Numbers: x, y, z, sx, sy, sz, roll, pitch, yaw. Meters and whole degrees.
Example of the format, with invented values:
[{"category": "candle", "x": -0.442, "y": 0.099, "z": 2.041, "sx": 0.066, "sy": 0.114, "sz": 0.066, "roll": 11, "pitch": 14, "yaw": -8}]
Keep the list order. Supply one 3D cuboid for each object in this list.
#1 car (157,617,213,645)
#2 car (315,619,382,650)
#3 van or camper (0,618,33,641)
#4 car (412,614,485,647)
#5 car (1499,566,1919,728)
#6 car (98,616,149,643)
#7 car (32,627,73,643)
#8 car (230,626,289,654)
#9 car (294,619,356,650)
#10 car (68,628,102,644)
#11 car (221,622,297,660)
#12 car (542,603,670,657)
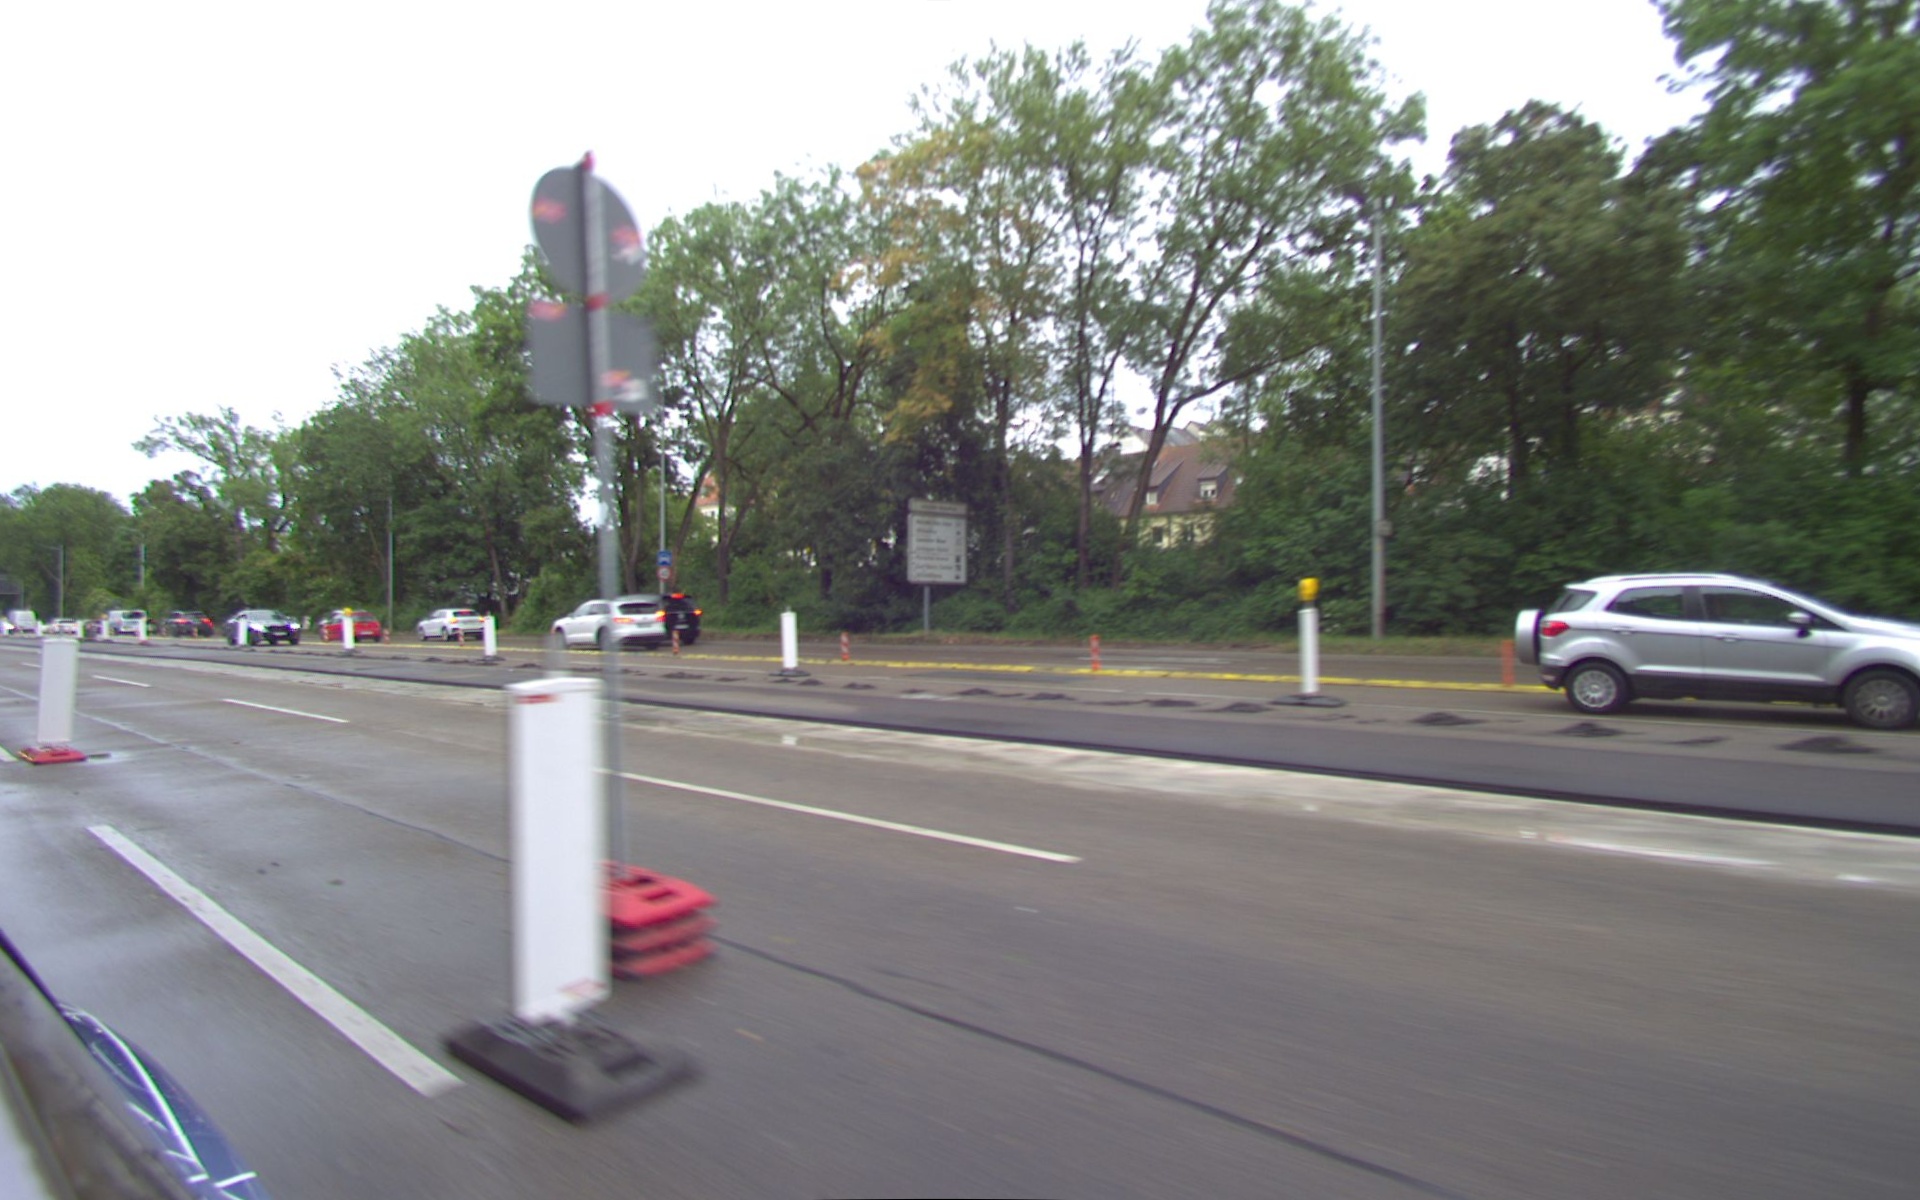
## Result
[{"category": "car", "x": -51.792, "y": 2.051, "z": 67.603, "sx": 5.009, "sy": 1.738, "sz": 2.000, "roll": -2, "pitch": 0, "yaw": 41}, {"category": "car", "x": -29.773, "y": 1.659, "z": 49.223, "sx": 4.010, "sy": 1.411, "sz": 1.662, "roll": -2, "pitch": 0, "yaw": 41}, {"category": "van or camper", "x": -112.763, "y": 3.490, "z": 120.853, "sx": 7.723, "sy": 2.574, "sz": 1.974, "roll": -2, "pitch": 0, "yaw": 40}, {"category": "car", "x": -24.544, "y": 1.448, "z": 48.499, "sx": 4.146, "sy": 1.508, "sz": 1.662, "roll": -2, "pitch": -2, "yaw": 41}, {"category": "car", "x": 8.823, "y": 0.471, "z": 11.552, "sx": 4.364, "sy": 1.576, "sz": 1.868, "roll": -2, "pitch": 0, "yaw": 43}, {"category": "car", "x": -64.216, "y": 2.250, "z": 77.661, "sx": 4.896, "sy": 1.987, "sz": 1.975, "roll": -2, "pitch": -1, "yaw": 38}, {"category": "car", "x": -81.827, "y": 3.170, "z": 91.234, "sx": 4.385, "sy": 1.426, "sz": 1.975, "roll": -2, "pitch": -2, "yaw": 37}, {"category": "car", "x": -40.027, "y": 2.252, "z": 57.778, "sx": 4.194, "sy": 1.499, "sz": 1.758, "roll": -2, "pitch": -1, "yaw": 41}, {"category": "car", "x": -35.734, "y": 1.914, "z": 56.897, "sx": 4.415, "sy": 1.639, "sz": 1.685, "roll": -2, "pitch": 0, "yaw": 40}, {"category": "car", "x": -84.627, "y": 3.489, "z": 97.840, "sx": 4.482, "sy": 1.487, "sz": 1.712, "roll": -1, "pitch": -1, "yaw": 39}, {"category": "car", "x": -33.302, "y": 1.907, "z": 48.017, "sx": 4.811, "sy": 1.641, "sz": 1.972, "roll": -1, "pitch": -1, "yaw": 42}, {"category": "car", "x": -11.973, "y": 1.004, "z": 34.092, "sx": 4.890, "sy": 1.674, "sz": 1.871, "roll": -2, "pitch": 0, "yaw": 41}]
